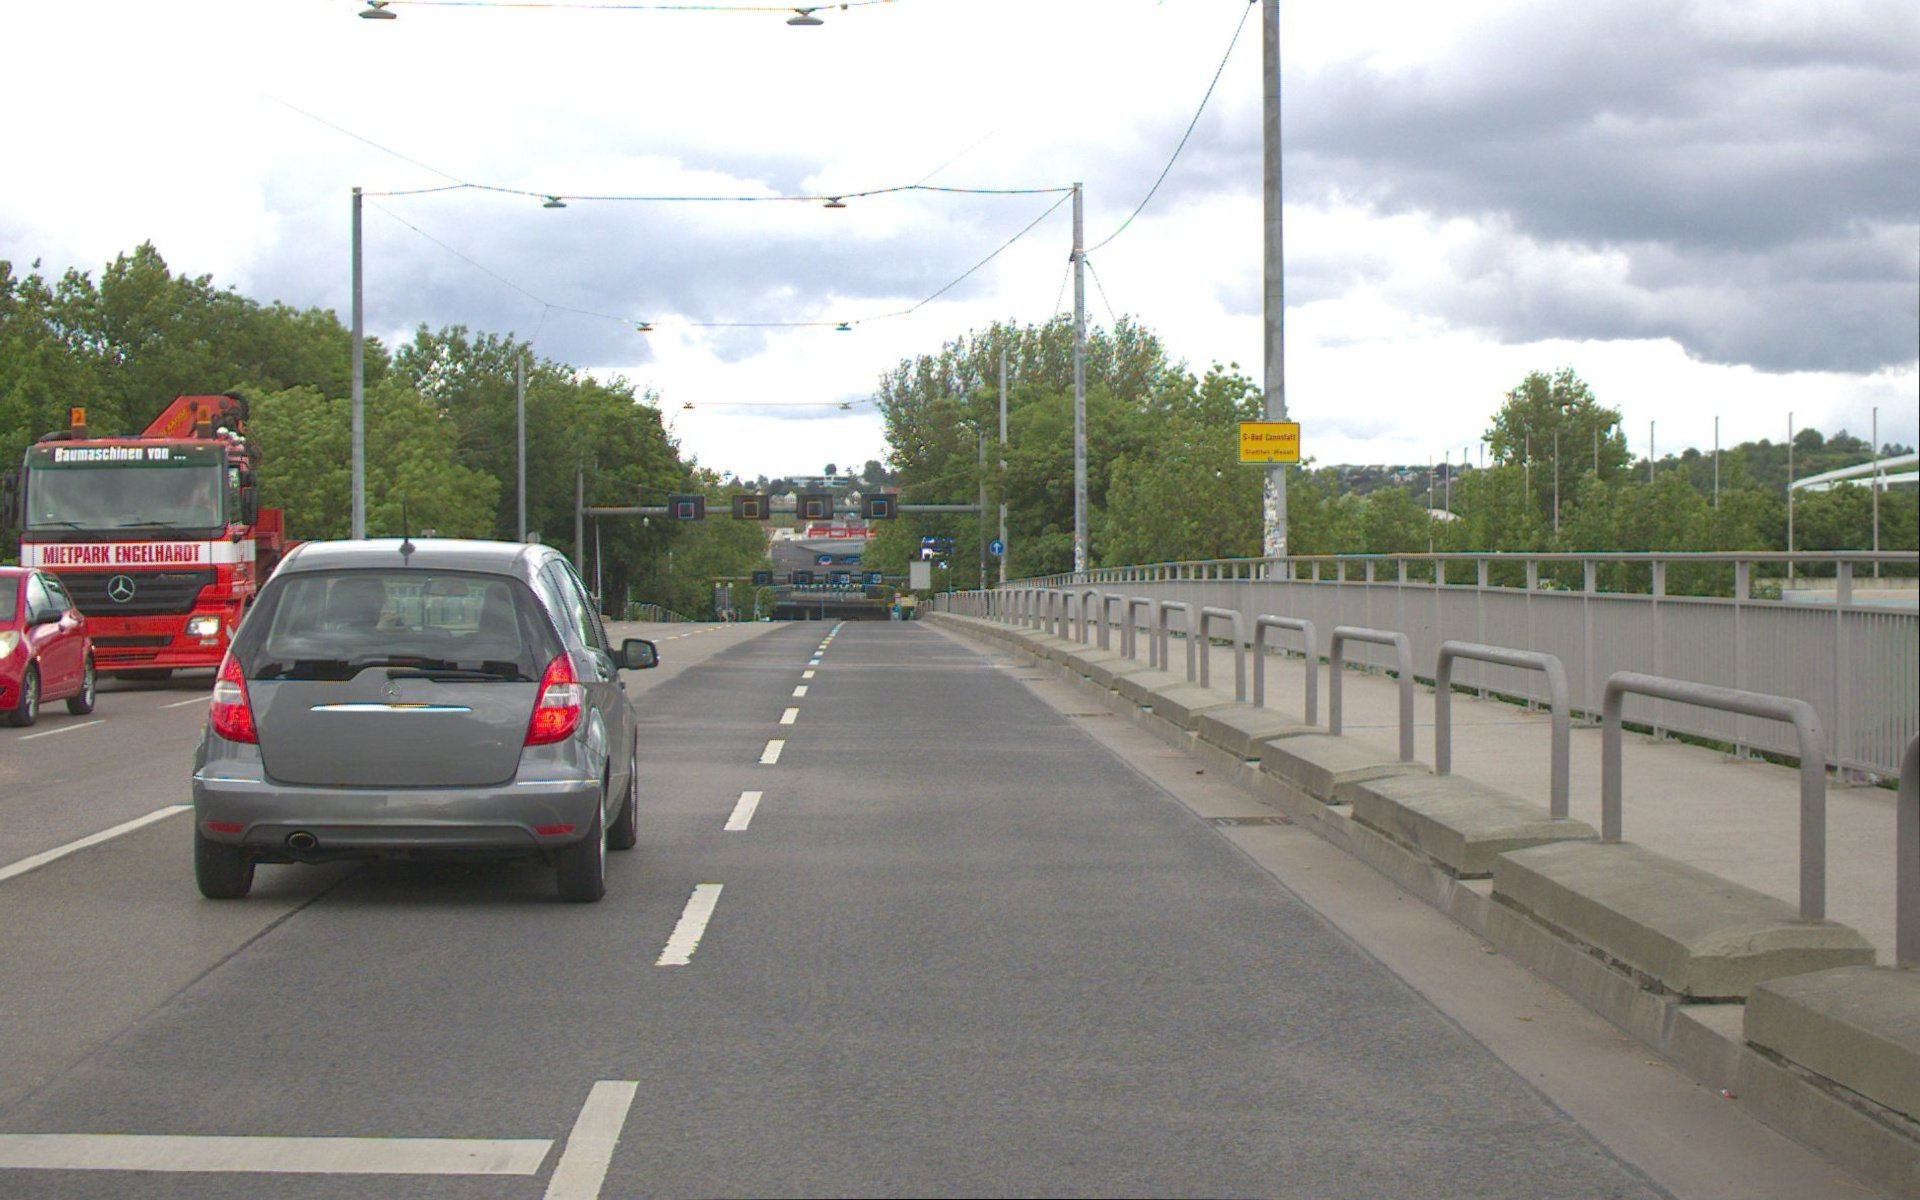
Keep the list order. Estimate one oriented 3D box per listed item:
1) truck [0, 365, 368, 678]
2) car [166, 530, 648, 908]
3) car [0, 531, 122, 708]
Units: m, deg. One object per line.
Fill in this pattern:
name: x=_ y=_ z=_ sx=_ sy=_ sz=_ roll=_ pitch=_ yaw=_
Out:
truck: x=-9.926 y=-0.973 z=44.560 sx=3.005 sy=3.553 sz=9.983 roll=-1 pitch=1 yaw=-2
car: x=-2.456 y=0.465 z=16.113 sx=1.745 sy=1.545 sz=3.871 roll=1 pitch=1 yaw=-2
car: x=-9.451 y=0.162 z=33.074 sx=1.879 sy=1.597 sz=4.016 roll=-1 pitch=1 yaw=-2
